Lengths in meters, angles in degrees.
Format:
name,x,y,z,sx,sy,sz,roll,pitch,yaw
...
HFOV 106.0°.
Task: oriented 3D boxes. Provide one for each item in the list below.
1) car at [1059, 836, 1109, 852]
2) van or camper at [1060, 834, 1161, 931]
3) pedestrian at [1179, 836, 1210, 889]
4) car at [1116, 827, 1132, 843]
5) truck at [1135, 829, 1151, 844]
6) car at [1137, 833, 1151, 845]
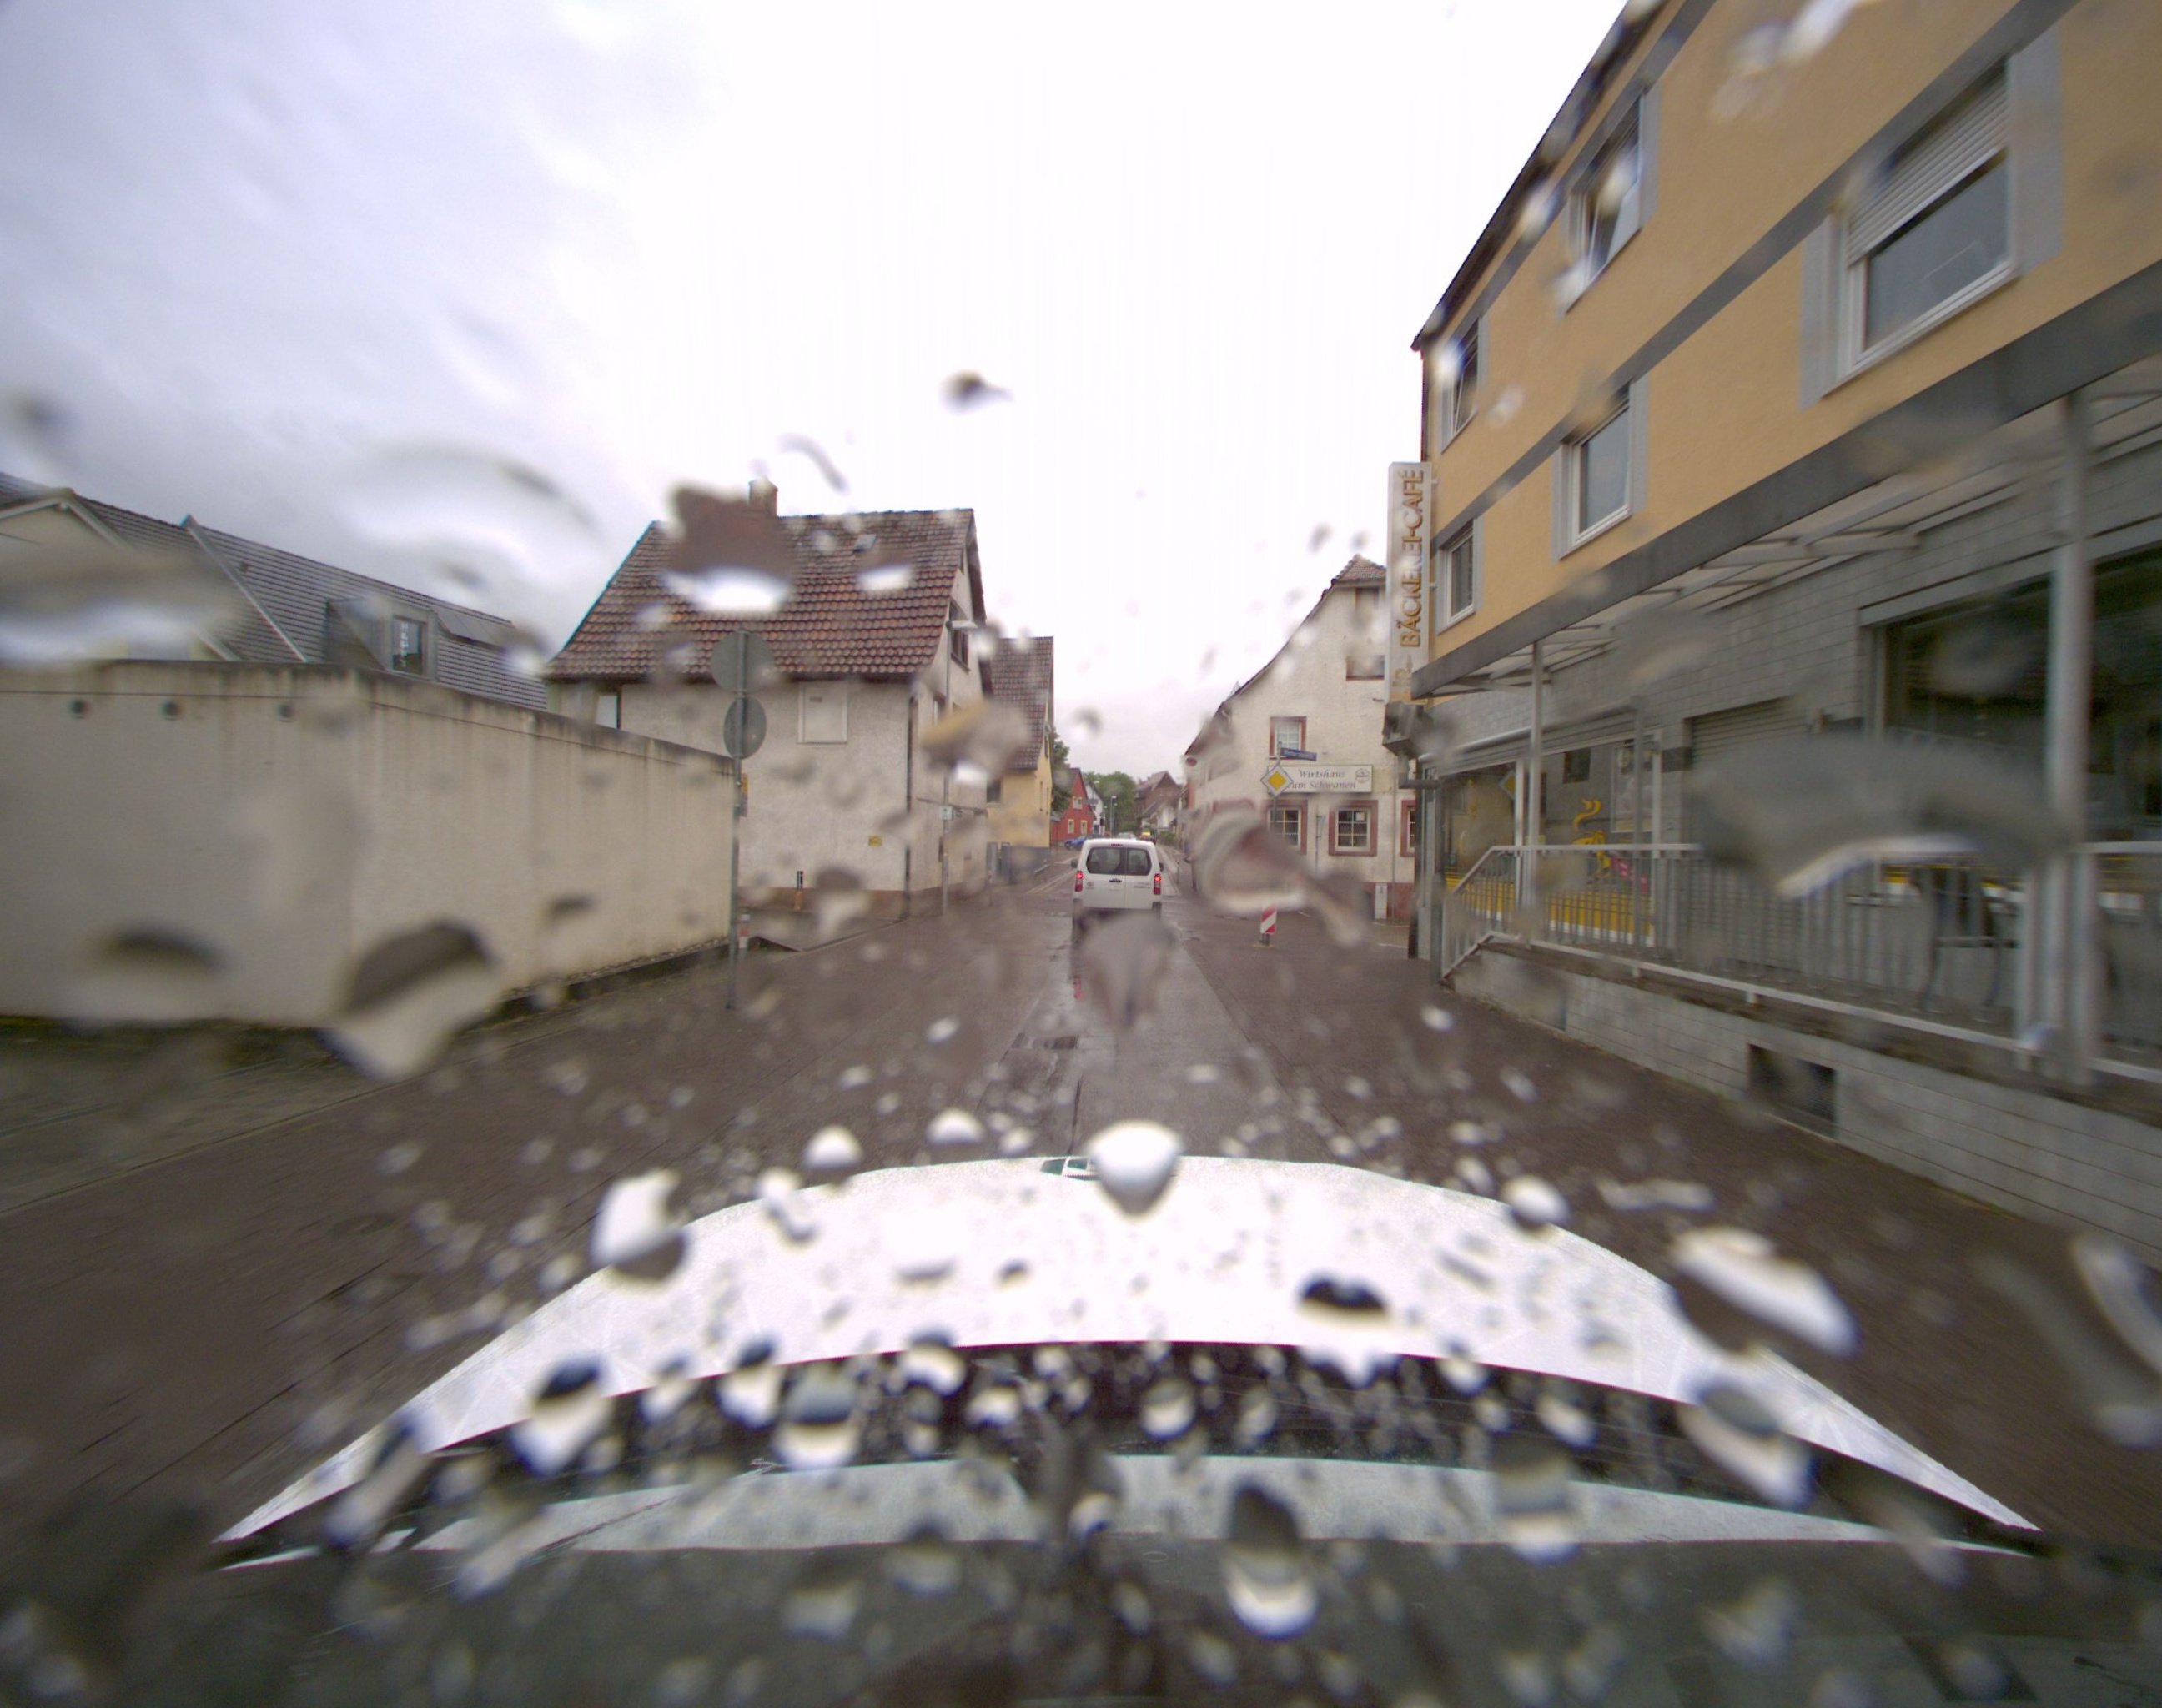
name,x,y,z,sx,sy,sz,roll,pitch,yaw
car,0.250,-0.873,73.448,4.015,1.373,2.089,0,0,-33
van or camper,0.726,0.553,17.769,1.935,1.851,4.004,1,0,4
pedestrian,3.865,0.285,27.708,0.988,1.735,0.813,1,3,8
car,5.068,-2.237,95.871,1.804,1.778,4.021,0,2,3
truck,9.915,-2.833,131.067,2.342,2.425,4.950,0,1,1
car,9.116,-2.165,117.937,1.986,1.747,4.003,0,1,2
